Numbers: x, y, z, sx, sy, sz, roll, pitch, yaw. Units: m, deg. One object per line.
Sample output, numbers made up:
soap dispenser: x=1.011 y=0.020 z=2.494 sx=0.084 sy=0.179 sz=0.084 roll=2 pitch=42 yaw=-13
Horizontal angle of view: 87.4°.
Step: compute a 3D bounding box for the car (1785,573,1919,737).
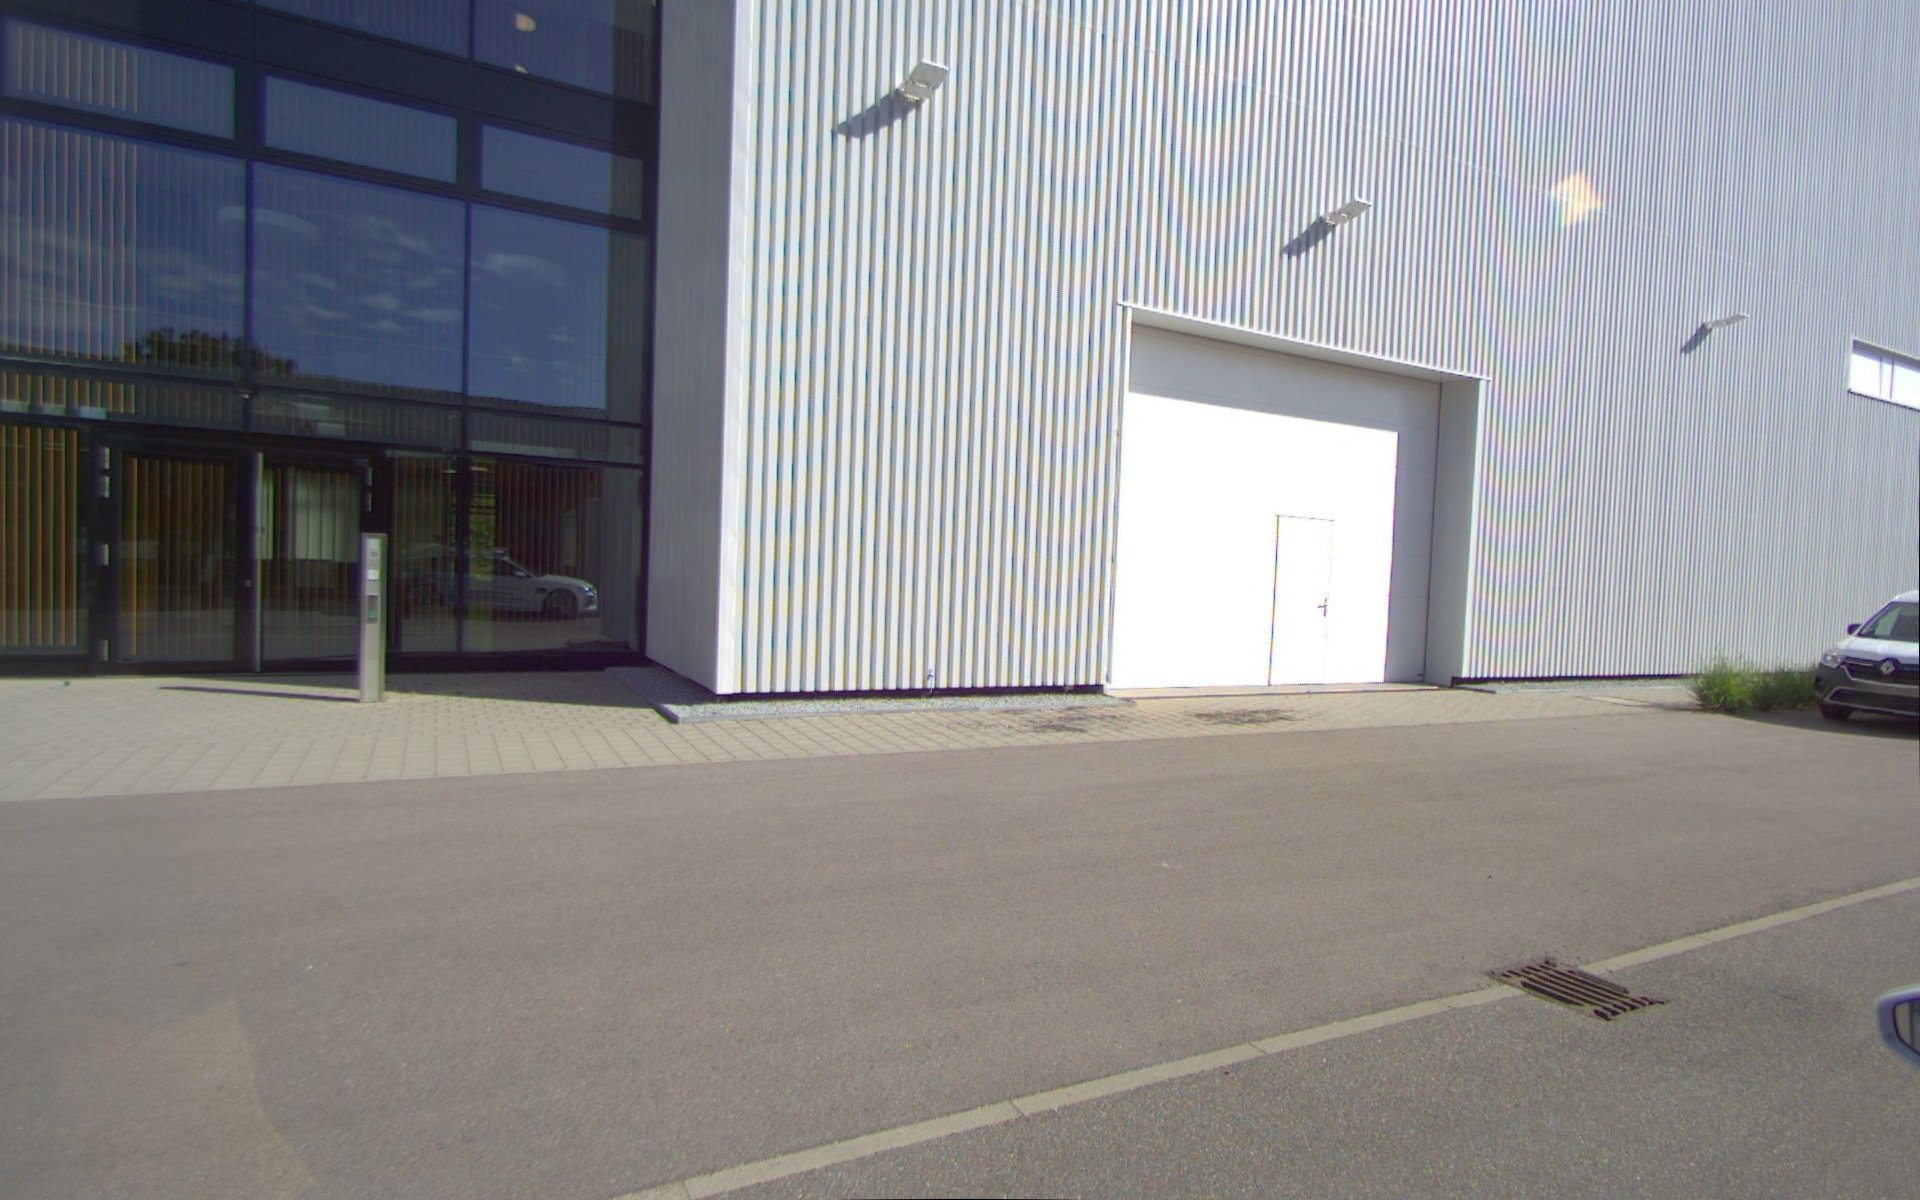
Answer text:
car: x=13.091 y=0.704 z=13.215 sx=4.305 sy=1.870 sz=1.882 roll=1 pitch=4 yaw=-29
